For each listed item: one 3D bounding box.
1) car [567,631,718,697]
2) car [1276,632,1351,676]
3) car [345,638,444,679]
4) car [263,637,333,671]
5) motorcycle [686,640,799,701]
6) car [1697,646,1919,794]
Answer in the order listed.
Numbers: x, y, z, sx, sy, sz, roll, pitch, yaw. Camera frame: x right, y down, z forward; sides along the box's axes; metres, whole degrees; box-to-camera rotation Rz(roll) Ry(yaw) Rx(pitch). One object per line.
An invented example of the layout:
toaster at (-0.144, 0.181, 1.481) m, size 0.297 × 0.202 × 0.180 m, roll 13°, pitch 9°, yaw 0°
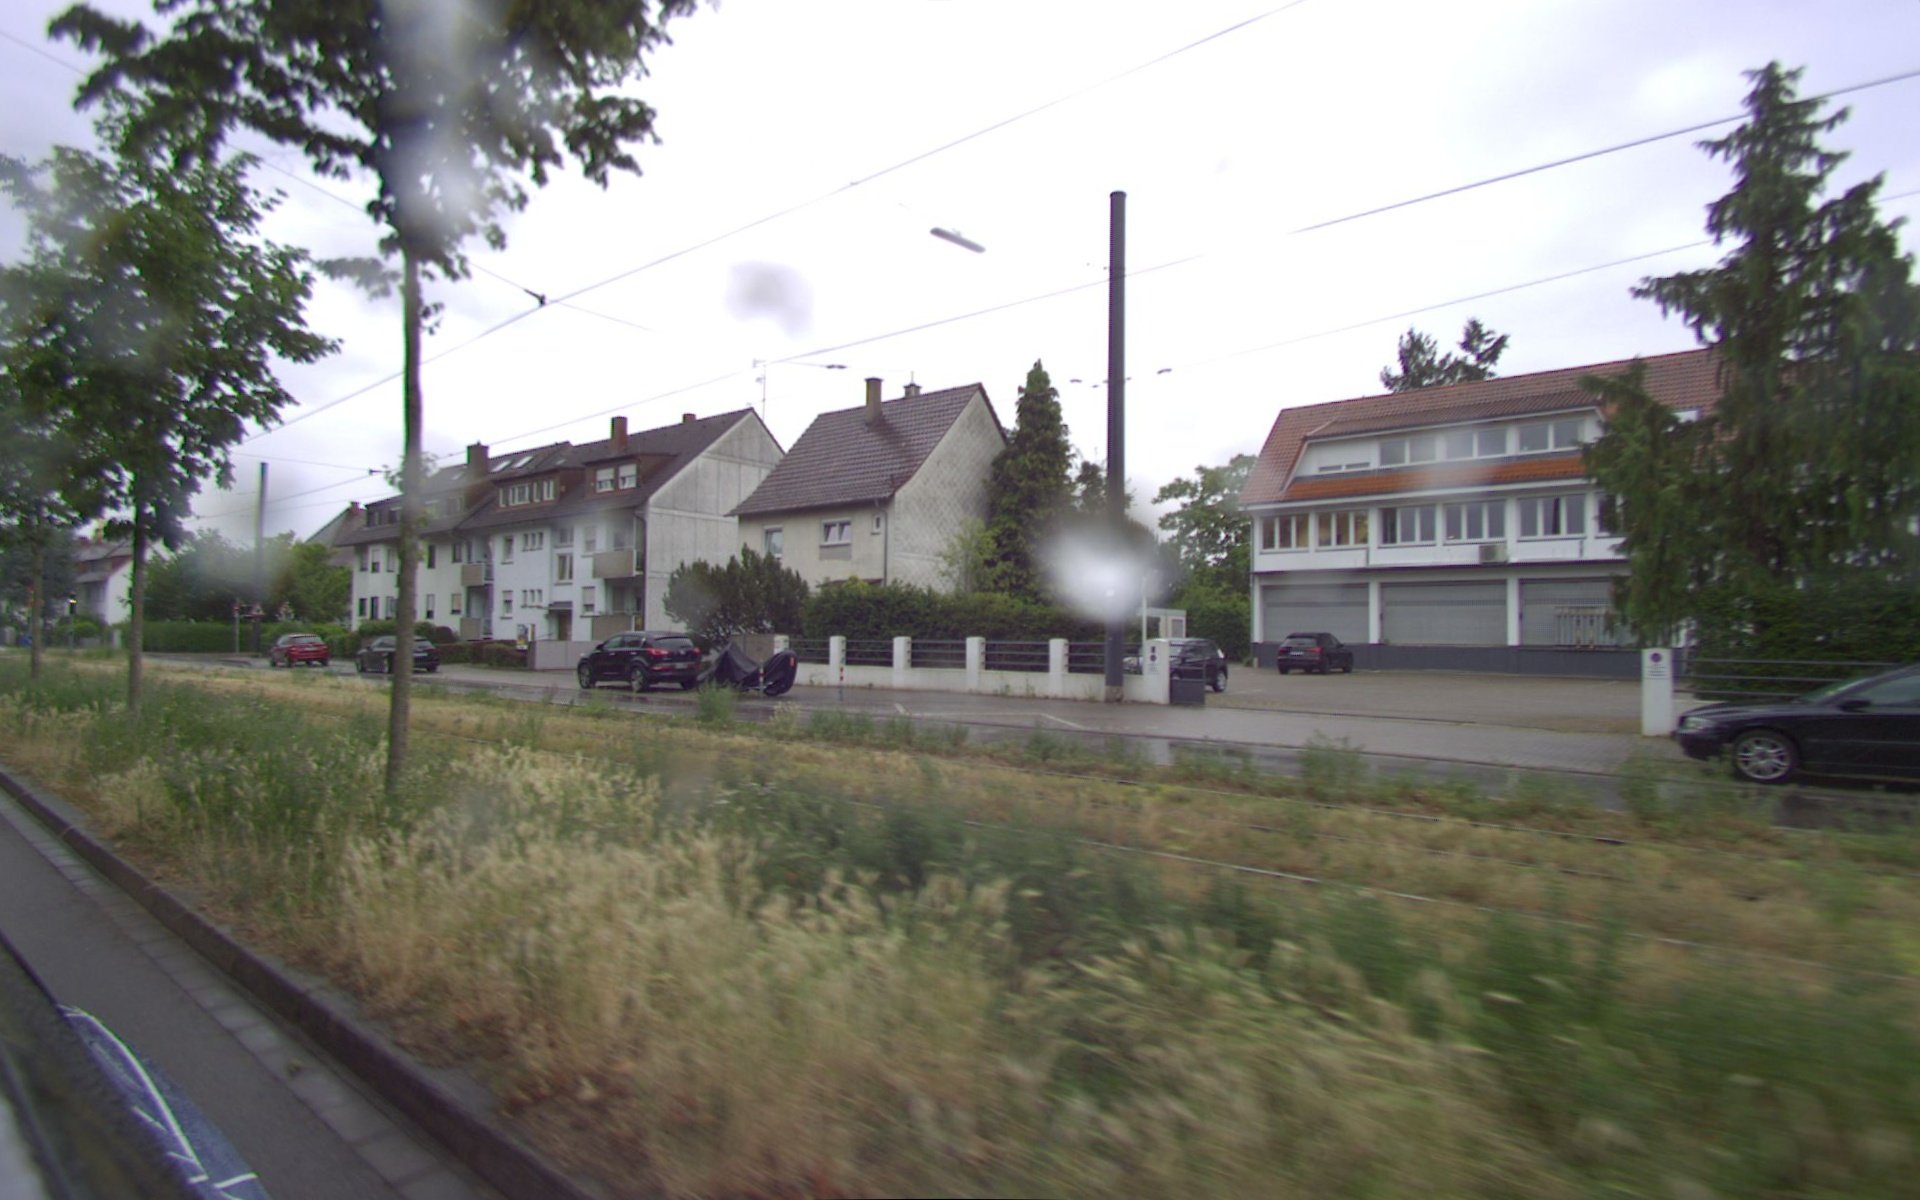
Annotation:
car at (-9.017, 1.736, 28.572) m, size 4.382 × 1.687 × 1.974 m, roll -1°, pitch -2°, yaw 39°
car at (14.044, 2.110, 40.109) m, size 1.701 × 1.551 × 3.922 m, roll -2°, pitch -1°, yaw 36°
car at (-22.024, 2.230, 39.353) m, size 4.760 × 1.421 × 1.972 m, roll -2°, pitch -2°, yaw 42°
car at (-30.553, 2.477, 46.670) m, size 3.999 × 1.468 × 1.778 m, roll -2°, pitch -2°, yaw 42°
motorcycle at (-5.331, 1.720, 25.014) m, size 2.645 × 1.421 × 1.269 m, roll 0°, pitch -1°, yaw -7°
car at (10.920, 1.272, 10.976) m, size 4.530 × 1.467 × 1.972 m, roll -2°, pitch -2°, yaw 42°
